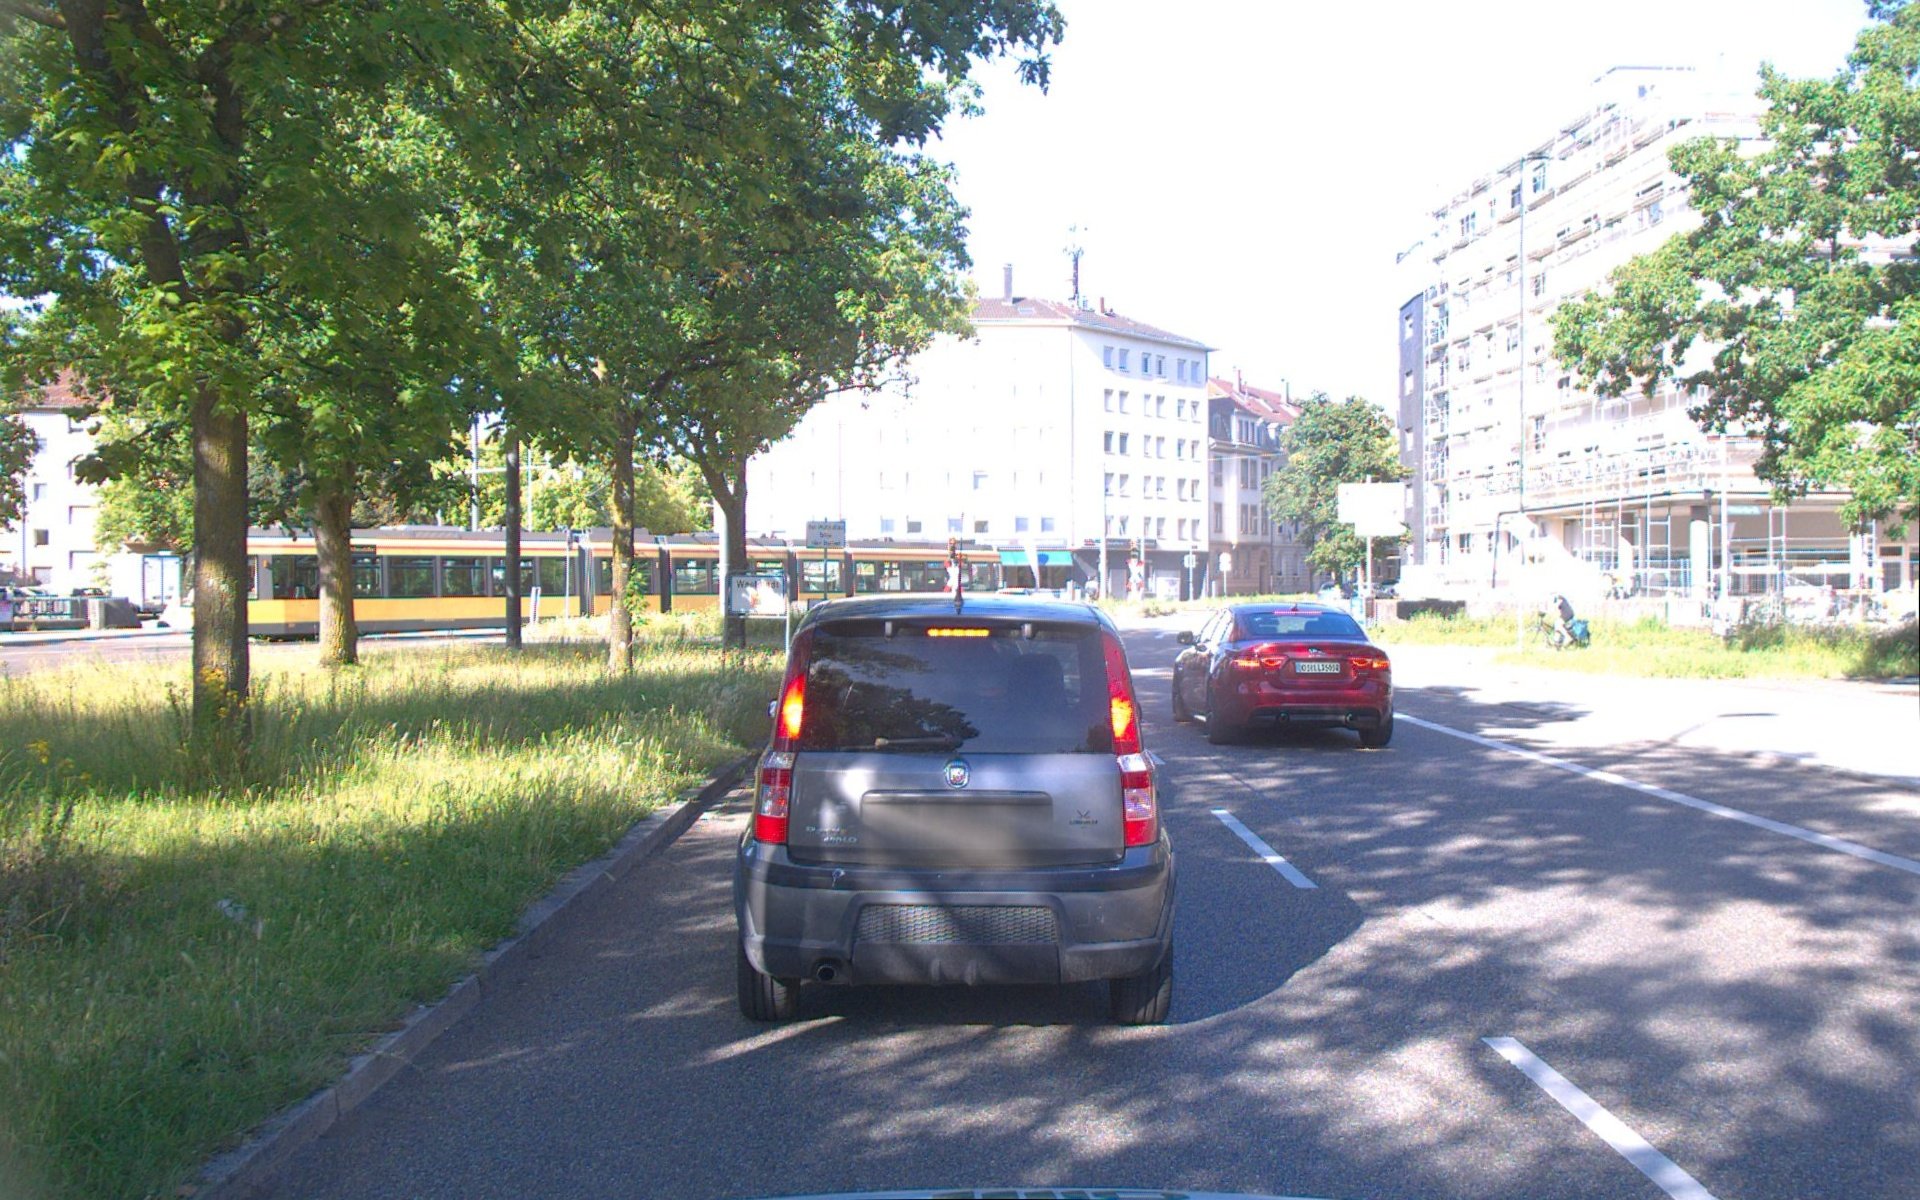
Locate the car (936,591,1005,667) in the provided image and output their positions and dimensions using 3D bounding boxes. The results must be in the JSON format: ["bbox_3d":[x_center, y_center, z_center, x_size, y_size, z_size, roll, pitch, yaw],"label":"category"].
[{"bbox_3d":[0.178,0.555,33.858,1.328,1.475,3.265,0,0,-1],"label":"car"}]

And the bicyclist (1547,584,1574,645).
[{"bbox_3d":[15.050,0.351,41.473,0.571,1.519,0.551,0,0,14],"label":"bicyclist"}]

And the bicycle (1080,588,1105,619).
[{"bbox_3d":[5.301,0.146,66.314,0.694,1.219,2.519,1,0,-2],"label":"bicycle"}]

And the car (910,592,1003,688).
[{"bbox_3d":[-0.079,0.609,27.199,1.434,1.449,3.381,0,1,-1],"label":"car"}]

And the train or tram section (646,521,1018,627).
[{"bbox_3d":[-4.476,-1.068,68.947,3.238,3.836,20.741,0,1,34],"label":"train or tram section"}]

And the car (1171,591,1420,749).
[{"bbox_3d":[3.478,0.653,17.958,1.848,1.453,4.387,0,1,0],"label":"car"}]

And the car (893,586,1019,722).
[{"bbox_3d":[-0.072,0.602,20.670,1.434,1.534,3.504,0,1,-1],"label":"car"}]

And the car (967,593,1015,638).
[{"bbox_3d":[0.919,0.444,49.610,1.328,1.304,2.875,0,1,-1],"label":"car"}]

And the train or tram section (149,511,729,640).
[{"bbox_3d":[-15.925,-0.793,54.003,3.246,3.574,19.274,0,1,41],"label":"train or tram section"}]

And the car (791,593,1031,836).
[{"bbox_3d":[-0.319,0.679,11.626,1.434,1.425,3.393,0,1,-1],"label":"car"}]

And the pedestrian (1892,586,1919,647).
[{"bbox_3d":[23.568,0.388,40.498,0.877,1.472,0.962,0,0,-15],"label":"pedestrian"}]

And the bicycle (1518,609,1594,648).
[{"bbox_3d":[14.935,0.708,41.464,1.751,0.961,0.560,0,0,14],"label":"bicycle"}]

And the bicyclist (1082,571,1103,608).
[{"bbox_3d":[5.315,-0.424,66.208,0.726,1.463,0.845,1,0,-1],"label":"bicyclist"}]

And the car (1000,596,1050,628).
[{"bbox_3d":[2.285,0.403,57.700,1.118,1.083,2.723,0,1,17],"label":"car"}]

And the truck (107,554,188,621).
[{"bbox_3d":[-35.743,-0.550,72.688,3.932,2.854,1.987,0,1,44],"label":"truck"}]

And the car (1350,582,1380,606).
[{"bbox_3d":[23.116,-0.333,94.377,1.495,1.337,3.289,0,1,17],"label":"car"}]

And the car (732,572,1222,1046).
[{"bbox_3d":[0.031,0.658,7.410,1.595,1.534,3.999,0,1,-1],"label":"car"}]

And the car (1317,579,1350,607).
[{"bbox_3d":[20.506,-0.388,90.710,1.646,1.475,3.574,0,1,15],"label":"car"}]
